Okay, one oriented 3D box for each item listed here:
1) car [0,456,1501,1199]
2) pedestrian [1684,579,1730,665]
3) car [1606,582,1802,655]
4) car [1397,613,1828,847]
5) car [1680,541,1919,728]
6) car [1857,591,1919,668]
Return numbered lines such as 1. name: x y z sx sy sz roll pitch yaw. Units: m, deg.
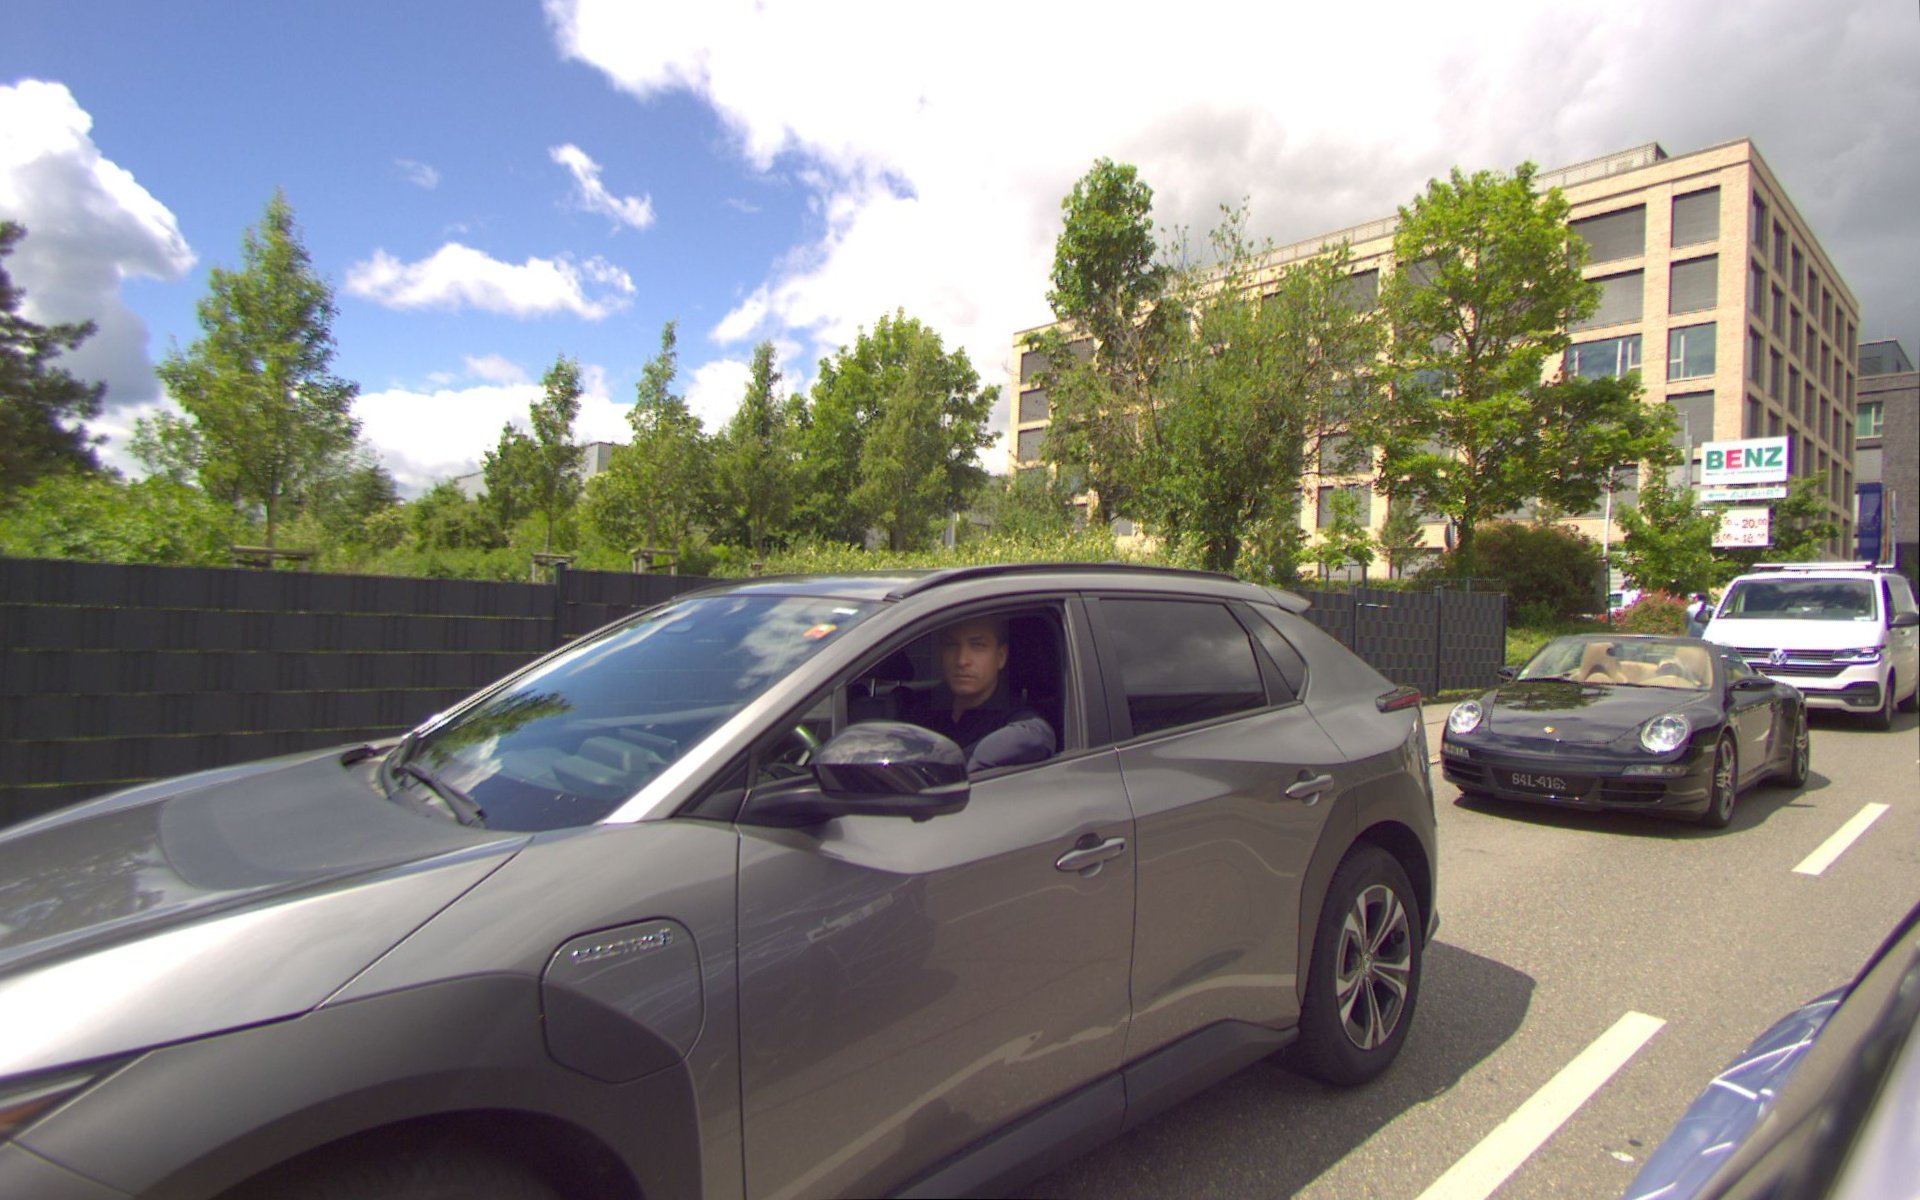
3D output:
1. car: -0.369 0.653 2.949 4.501 1.649 1.997 0 1 -42
2. pedestrian: 14.835 0.423 20.103 0.435 1.678 0.631 0 1 -42
3. car: 19.964 0.422 27.261 1.793 1.754 3.991 0 2 -44
4. car: 5.269 0.791 7.972 3.967 1.310 1.823 0 0 -41
5. car: 11.554 0.373 13.541 4.677 2.075 2.087 0 0 -41
6. car: 20.235 0.578 21.069 3.930 1.481 1.817 0 2 -41
